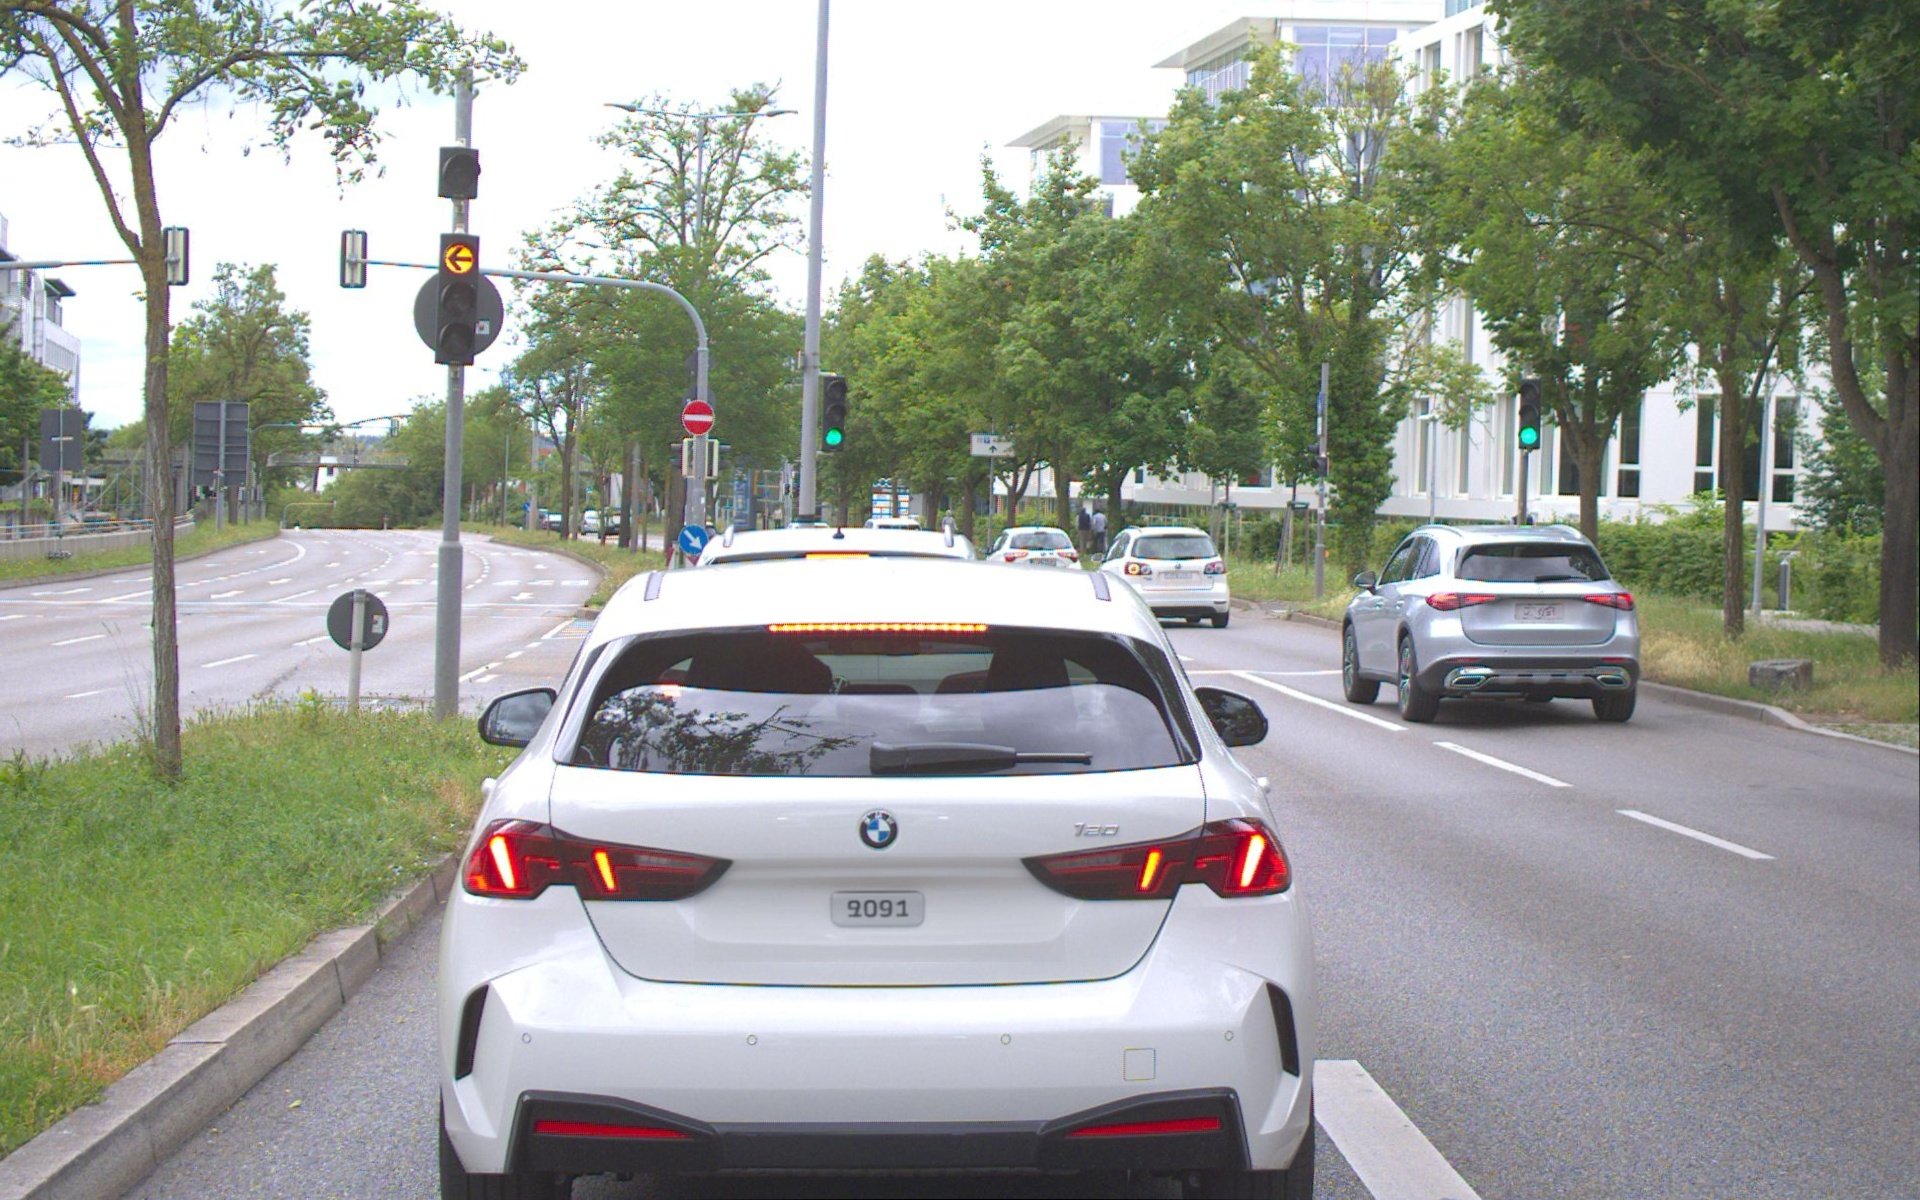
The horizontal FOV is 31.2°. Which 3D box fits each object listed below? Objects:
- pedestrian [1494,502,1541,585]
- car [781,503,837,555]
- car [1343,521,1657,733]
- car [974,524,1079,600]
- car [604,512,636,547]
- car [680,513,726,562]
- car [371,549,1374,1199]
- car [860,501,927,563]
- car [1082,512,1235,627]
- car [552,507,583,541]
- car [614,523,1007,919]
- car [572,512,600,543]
[{"bbox_3d":[10.567,-1.072,65.210,0.741,1.568,0.674,1,0,-1],"label":"pedestrian"},{"bbox_3d":[-5.076,-2.377,115.260,1.738,1.661,4.001,1,1,-4],"label":"car"},{"bbox_3d":[4.512,0.177,29.306,1.993,1.664,4.000,0,1,-1],"label":"car"},{"bbox_3d":[1.345,-0.797,70.589,1.692,1.481,3.694,1,1,-6],"label":"car"},{"bbox_3d":[-20.076,-4.172,202.896,1.837,2.007,4.001,1,1,-6],"label":"car"},{"bbox_3d":[-9.158,-2.231,122.548,1.601,1.661,4.001,1,1,-4],"label":"car"},{"bbox_3d":[-0.187,0.622,8.339,1.822,1.433,4.000,1,1,-1],"label":"car"},{"bbox_3d":[-1.854,-1.888,95.238,1.601,1.661,4.001,1,1,-4],"label":"car"},{"bbox_3d":[3.077,-0.503,54.149,1.695,1.711,4.001,1,1,-7],"label":"car"},{"bbox_3d":[-24.077,-4.666,210.819,1.837,2.007,4.001,1,1,-6],"label":"car"},{"bbox_3d":[-0.625,0.451,15.857,1.549,1.563,4.000,1,1,-1],"label":"car"},{"bbox_3d":[-25.020,-4.870,229.929,1.837,2.007,4.001,1,1,-6],"label":"car"}]
